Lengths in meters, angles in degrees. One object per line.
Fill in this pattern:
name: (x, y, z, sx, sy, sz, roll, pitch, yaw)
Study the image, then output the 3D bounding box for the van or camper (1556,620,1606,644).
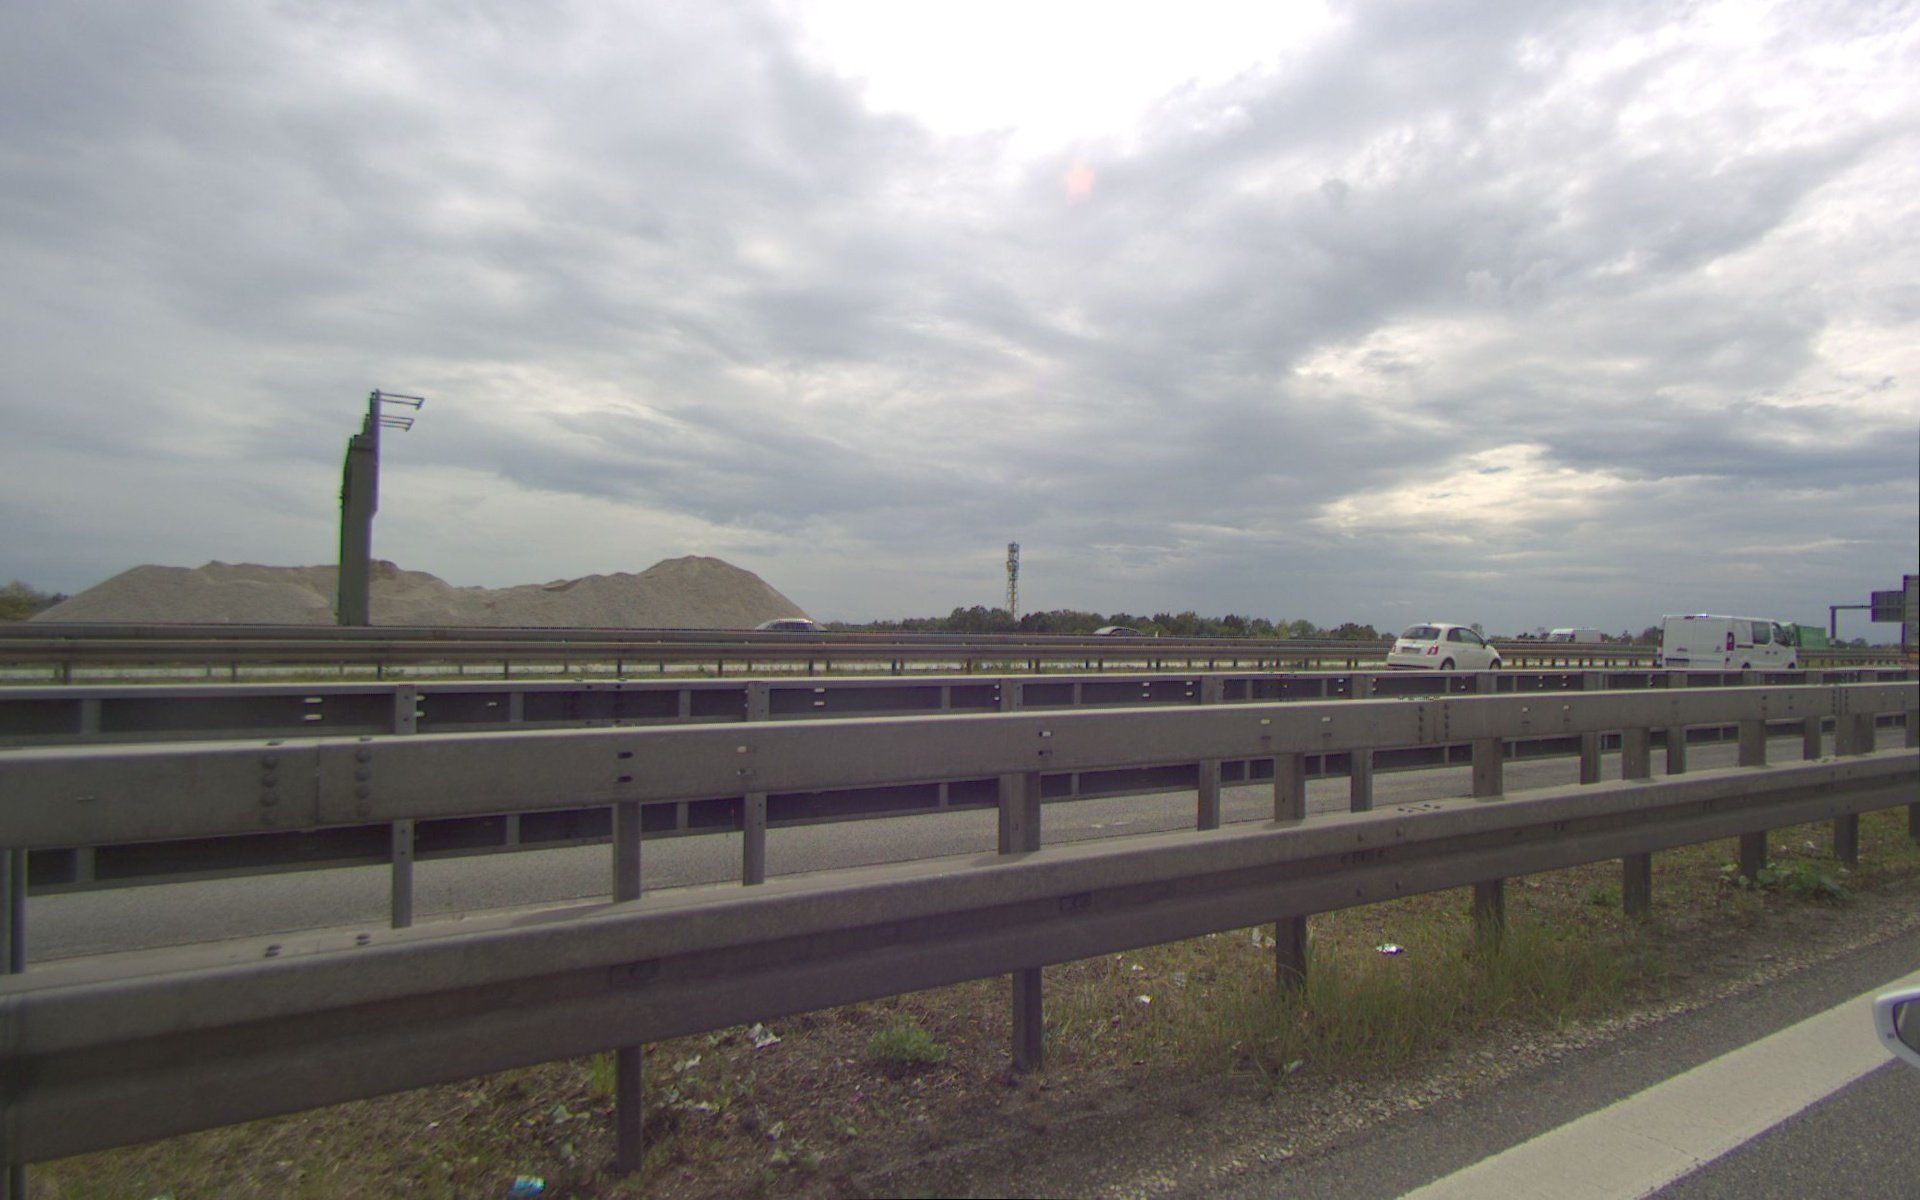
van or camper: (54.249, 2.790, 87.728, 4.183, 1.873, 1.983, 2, 1, -32)

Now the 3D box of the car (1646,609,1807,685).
car: (21.885, 1.325, 28.627, 5.075, 1.963, 1.989, 2, -1, -32)

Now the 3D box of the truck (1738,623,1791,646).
truck: (86.962, 3.695, 108.562, 6.350, 2.266, 2.346, 2, 0, -30)

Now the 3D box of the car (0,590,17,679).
car: (-20.073, 0.598, 17.785, 4.585, 1.684, 1.982, 2, 0, -33)

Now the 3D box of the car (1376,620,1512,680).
car: (13.118, 1.350, 27.171, 3.735, 1.504, 1.670, 3, -3, -34)

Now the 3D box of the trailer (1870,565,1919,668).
trailer: (42.253, 0.834, 41.883, 12.246, 3.976, 3.218, 2, 0, -33)
